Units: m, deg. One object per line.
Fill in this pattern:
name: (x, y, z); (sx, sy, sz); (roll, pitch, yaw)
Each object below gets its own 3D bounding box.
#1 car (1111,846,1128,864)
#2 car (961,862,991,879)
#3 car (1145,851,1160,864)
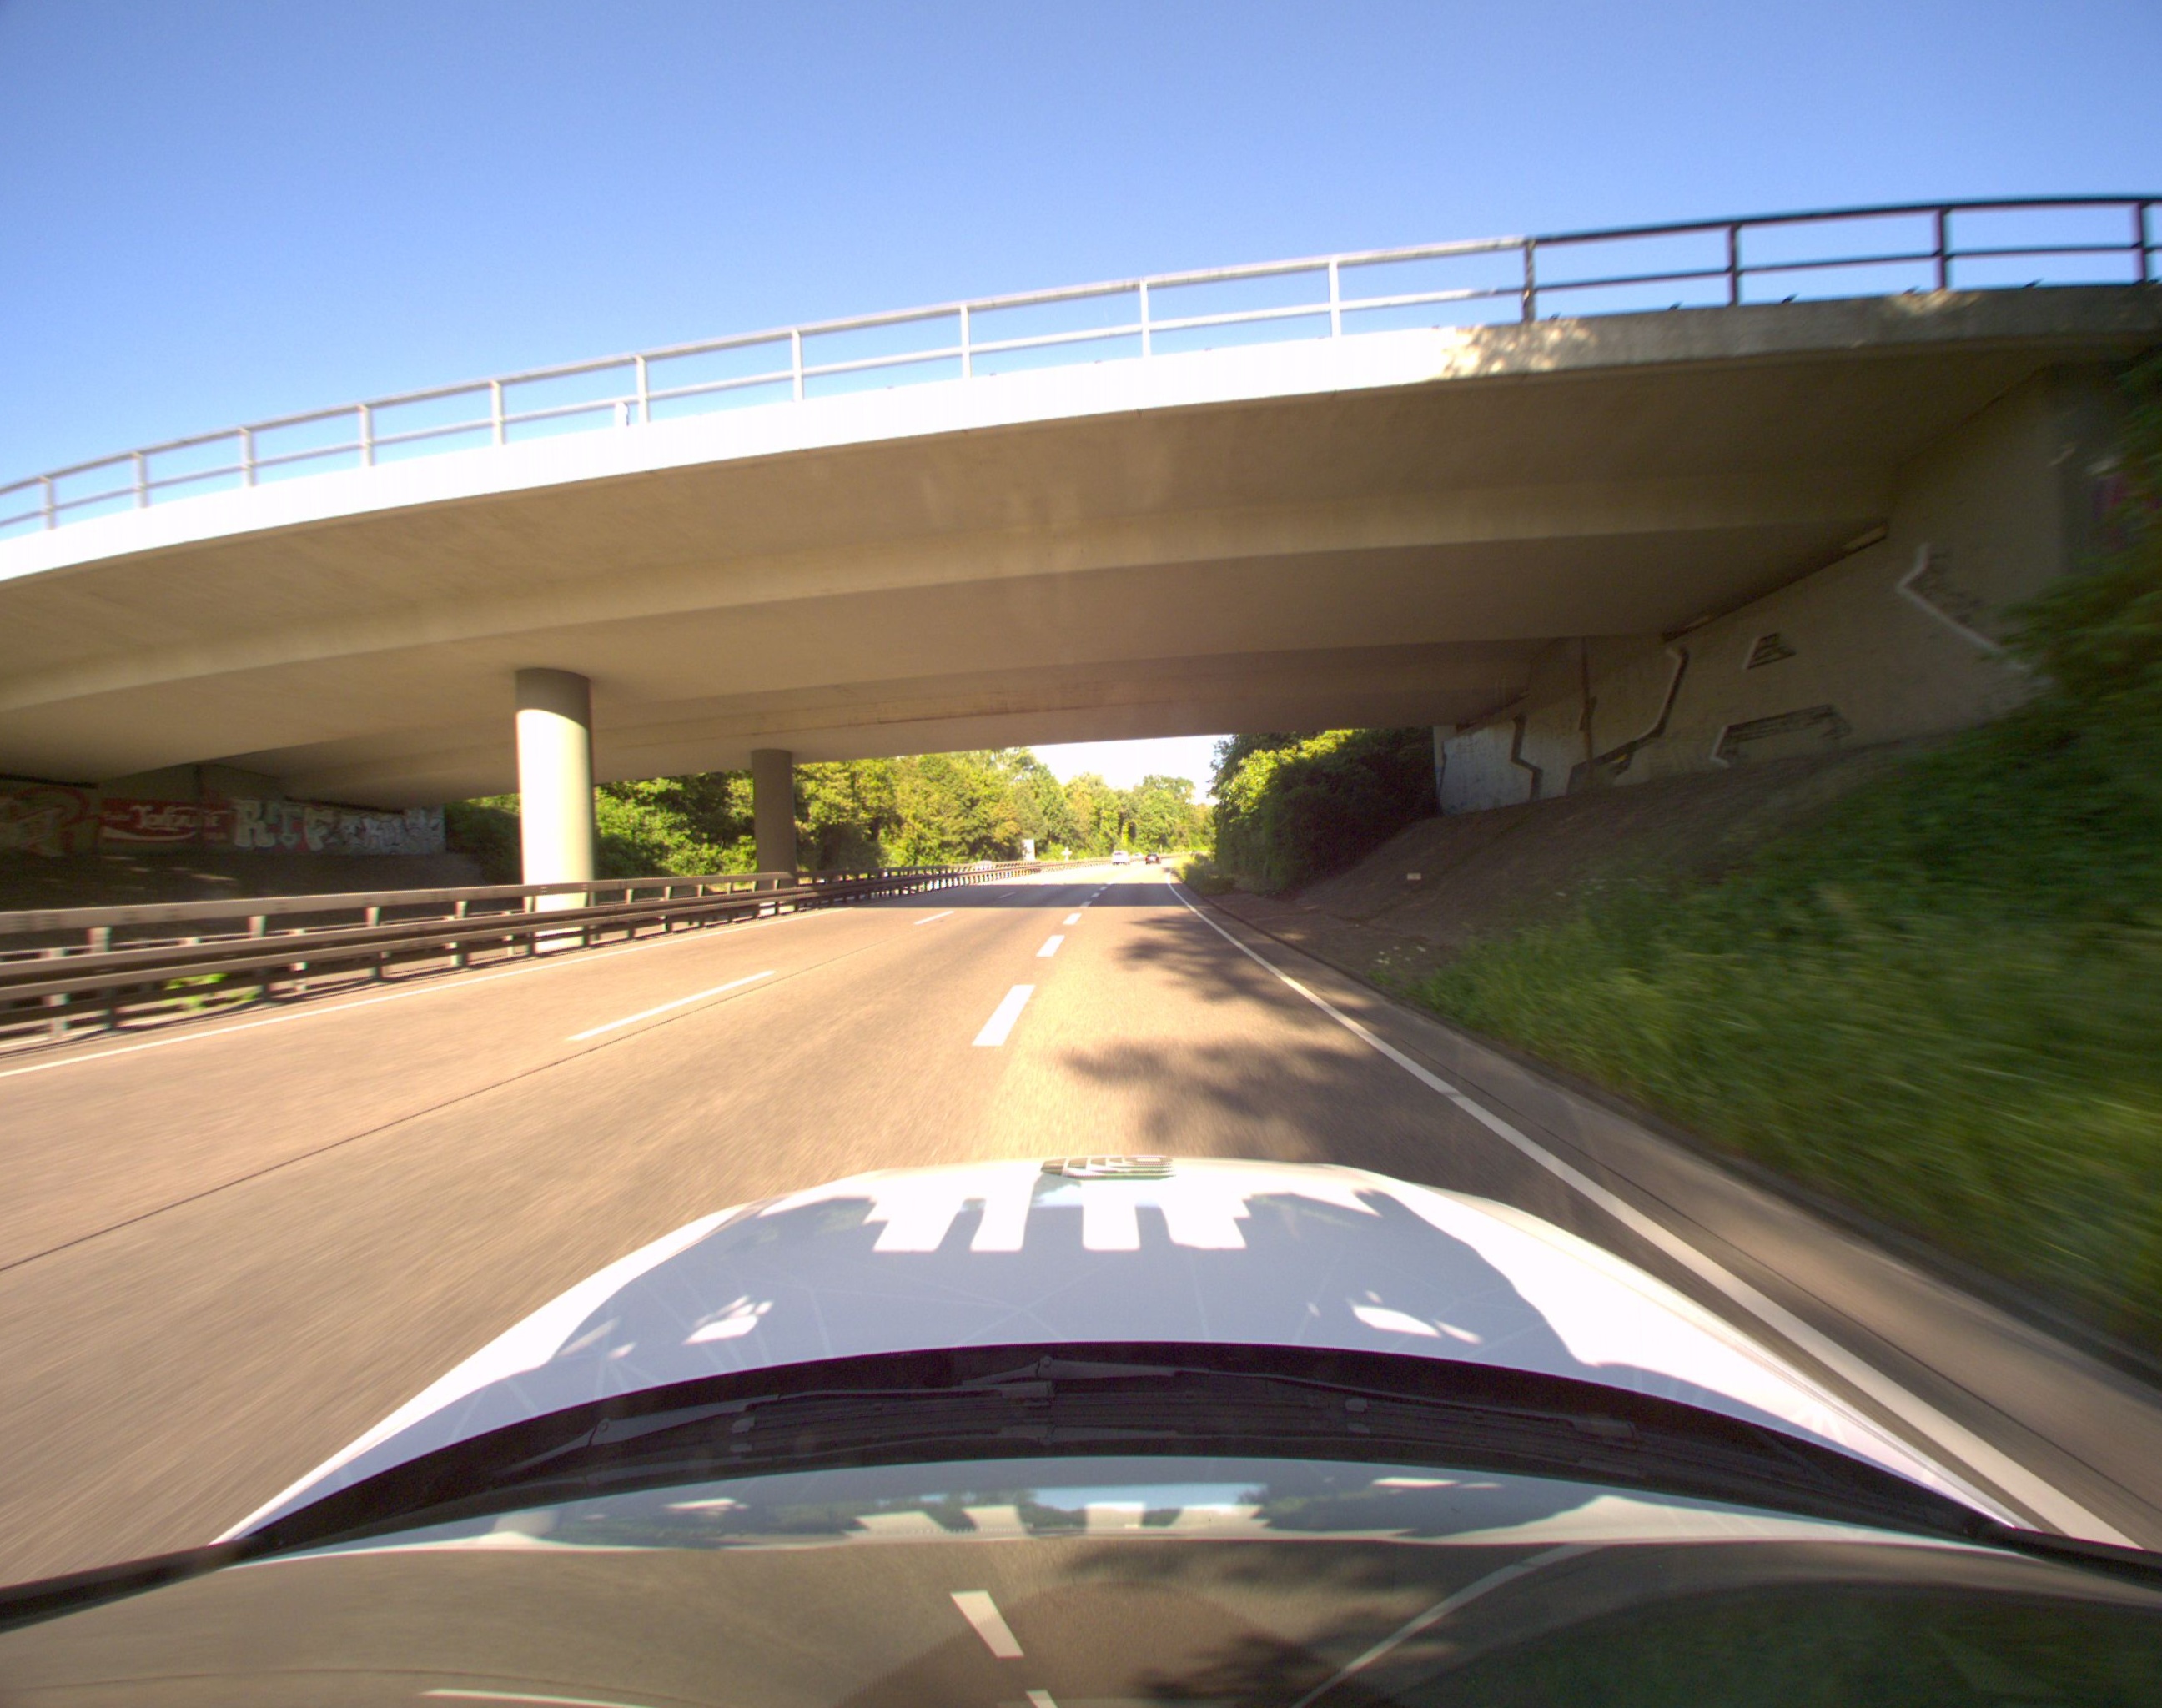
car: (4.981, 0.105, 105.459); (1.985, 2.277, 4.003); (-2, 0, 3)
car: (-10.707, 1.690, 83.636); (1.983, 1.594, 4.736); (-1, 0, 6)
car: (9.518, 0.413, 108.638); (1.729, 1.662, 3.955); (-2, 0, 8)
